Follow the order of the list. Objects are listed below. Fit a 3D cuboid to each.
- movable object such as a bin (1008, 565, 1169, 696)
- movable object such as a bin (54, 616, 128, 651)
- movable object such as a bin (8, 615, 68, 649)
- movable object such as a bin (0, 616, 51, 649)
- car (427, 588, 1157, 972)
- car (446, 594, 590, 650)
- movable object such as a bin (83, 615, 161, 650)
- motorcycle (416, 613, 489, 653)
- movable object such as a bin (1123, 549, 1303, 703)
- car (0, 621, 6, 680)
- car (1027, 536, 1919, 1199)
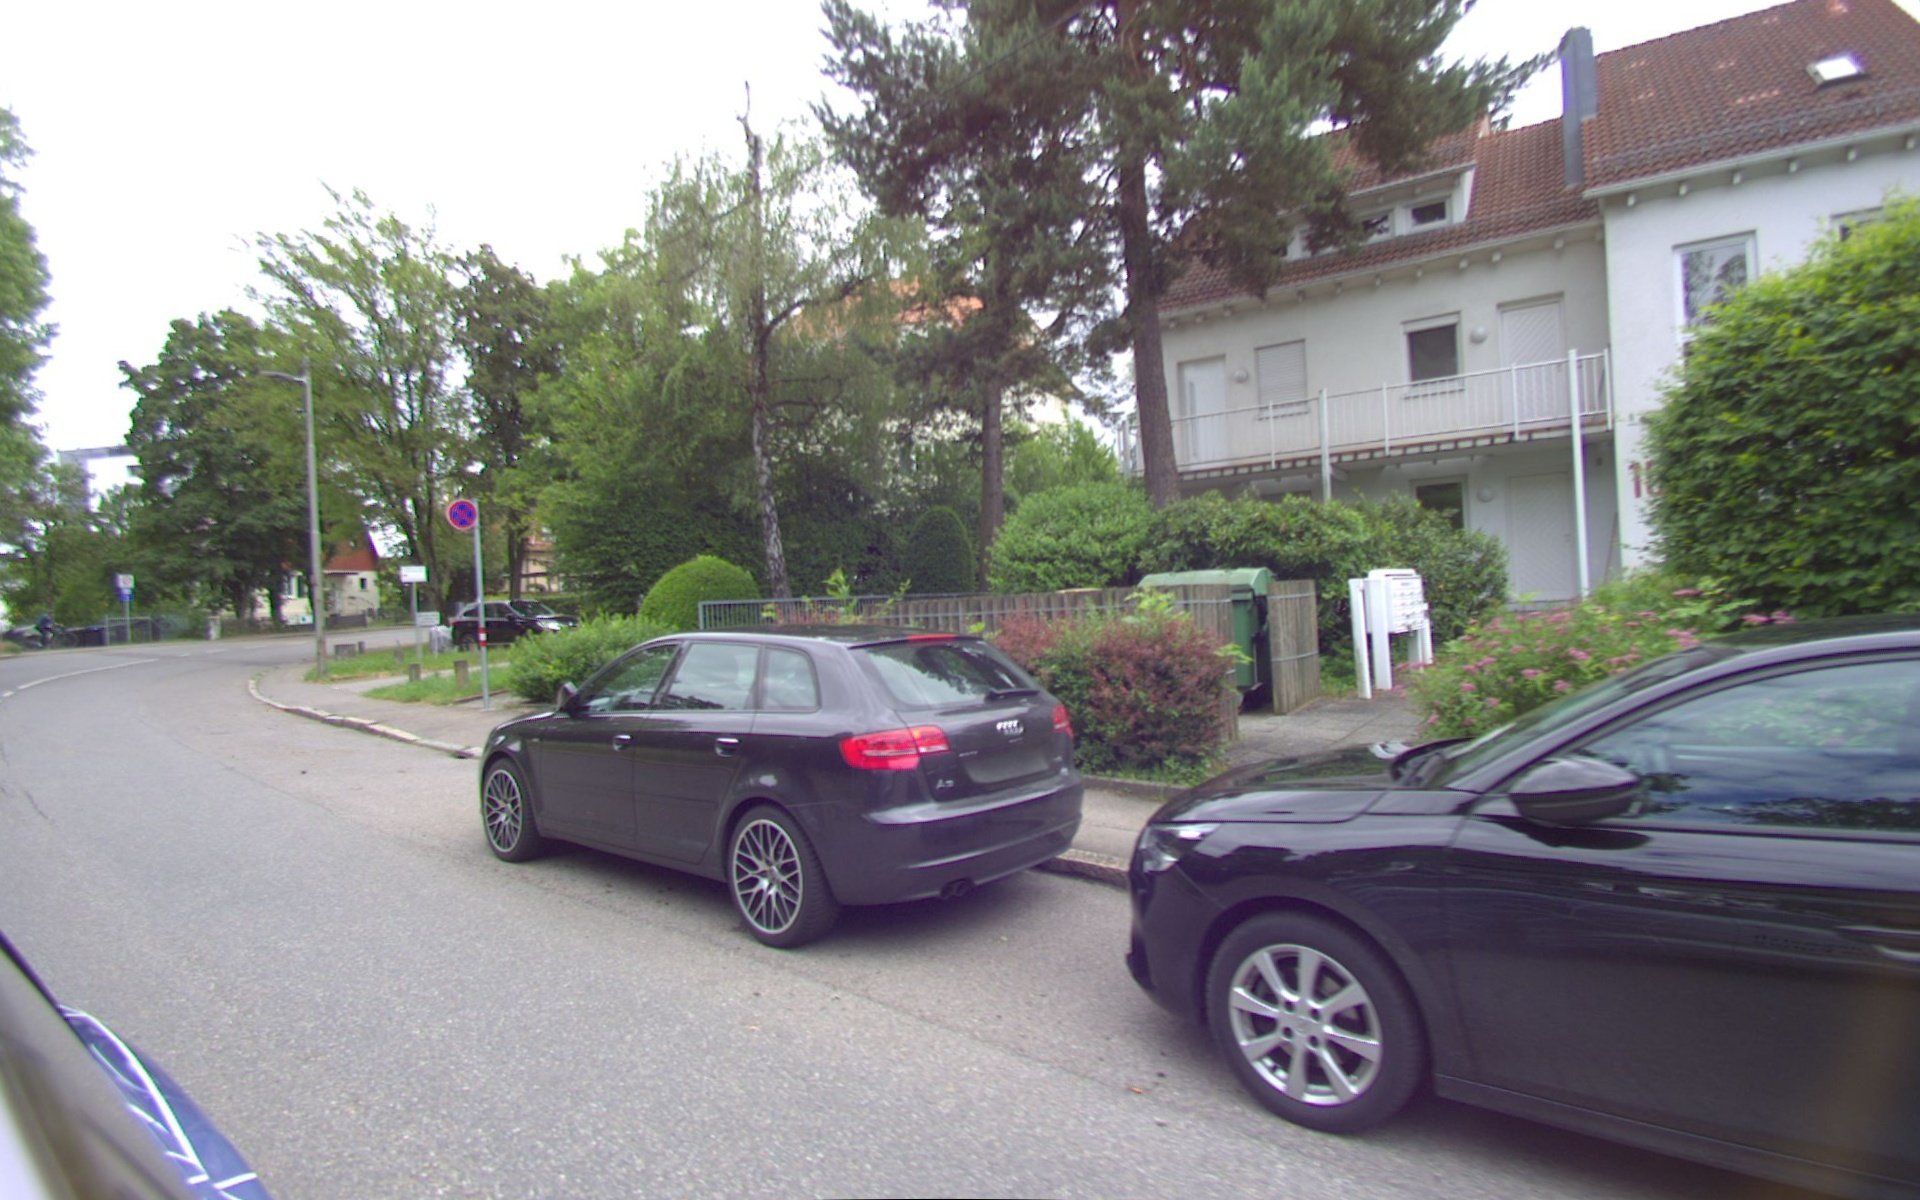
[{"bbox_3d":[1.471,0.337,11.555,1.392,1.373,1.103,-3,0,38],"label":"movable object such as a bin"},{"bbox_3d":[-48.373,1.877,56.393,2.212,1.745,2.200,-2,1,11],"label":"movable object such as a bin"},{"bbox_3d":[-46.139,1.600,50.677,1.410,1.559,1.671,-2,1,8],"label":"movable object such as a bin"},{"bbox_3d":[-48.339,1.698,51.601,2.863,1.559,1.443,-2,0,9],"label":"movable object such as a bin"},{"bbox_3d":[-1.276,0.701,5.911,4.501,1.429,1.717,-1,0,41],"label":"car"},{"bbox_3d":[-14.022,0.696,32.121,4.308,1.605,1.733,-2,1,25],"label":"car"},{"bbox_3d":[-46.105,1.779,55.700,2.474,1.726,2.200,-2,1,12],"label":"movable object such as a bin"},{"bbox_3d":[-16.883,1.085,33.737,0.860,1.160,2.050,-2,1,25],"label":"motorcycle"},{"bbox_3d":[2.646,0.262,10.593,1.451,1.478,1.083,-3,0,38],"label":"movable object such as a bin"},{"bbox_3d":[-22.724,1.179,22.445,1.620,1.409,3.792,1,-1,-33],"label":"car"},{"bbox_3d":[2.415,0.582,2.612,4.329,1.452,1.633,-1,0,40],"label":"car"}]
